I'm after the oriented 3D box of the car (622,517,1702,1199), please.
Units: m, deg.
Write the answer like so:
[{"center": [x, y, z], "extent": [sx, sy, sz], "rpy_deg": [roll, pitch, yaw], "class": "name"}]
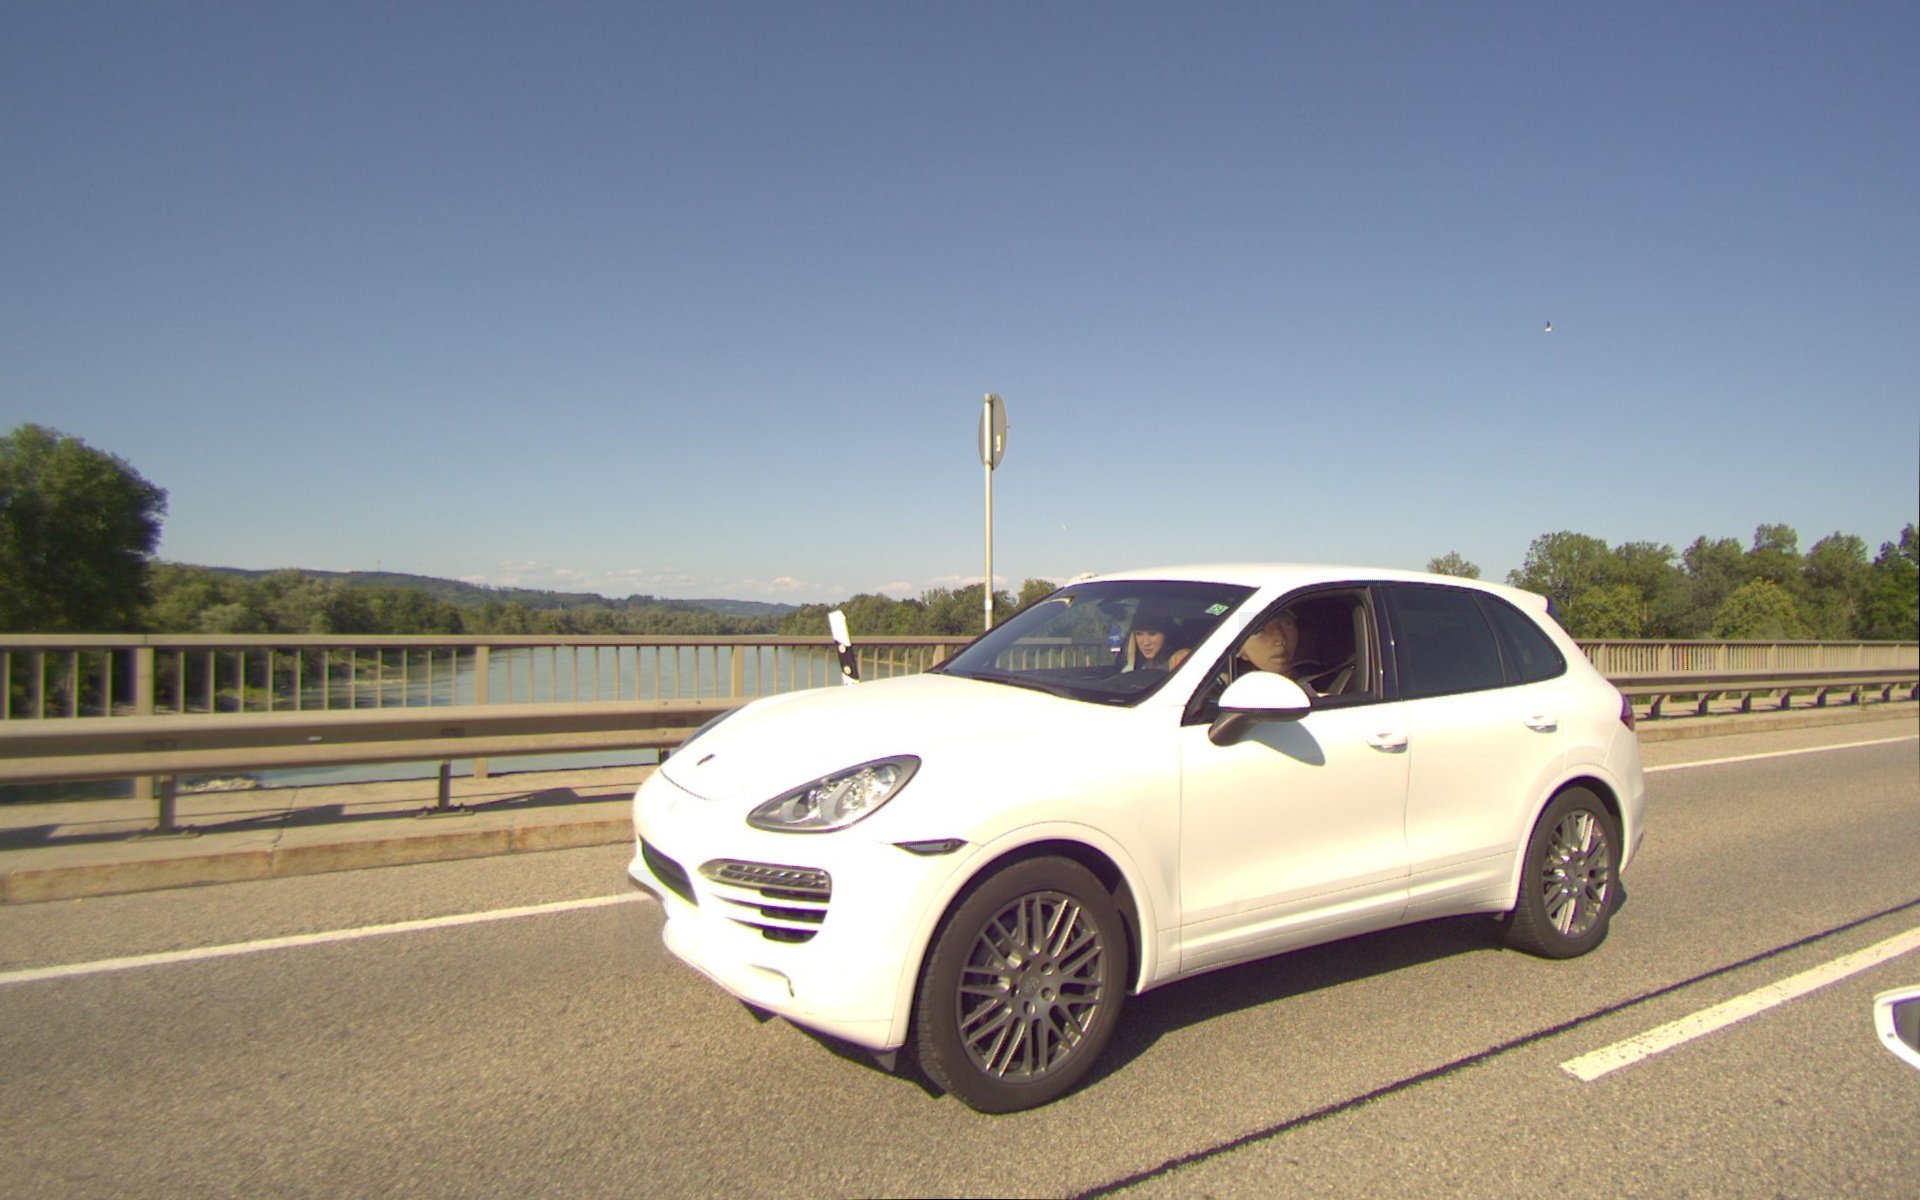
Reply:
[{"center": [1.050, 0.659, 4.456], "extent": [4.543, 1.673, 1.974], "rpy_deg": [1, 0, -30], "class": "car"}]
